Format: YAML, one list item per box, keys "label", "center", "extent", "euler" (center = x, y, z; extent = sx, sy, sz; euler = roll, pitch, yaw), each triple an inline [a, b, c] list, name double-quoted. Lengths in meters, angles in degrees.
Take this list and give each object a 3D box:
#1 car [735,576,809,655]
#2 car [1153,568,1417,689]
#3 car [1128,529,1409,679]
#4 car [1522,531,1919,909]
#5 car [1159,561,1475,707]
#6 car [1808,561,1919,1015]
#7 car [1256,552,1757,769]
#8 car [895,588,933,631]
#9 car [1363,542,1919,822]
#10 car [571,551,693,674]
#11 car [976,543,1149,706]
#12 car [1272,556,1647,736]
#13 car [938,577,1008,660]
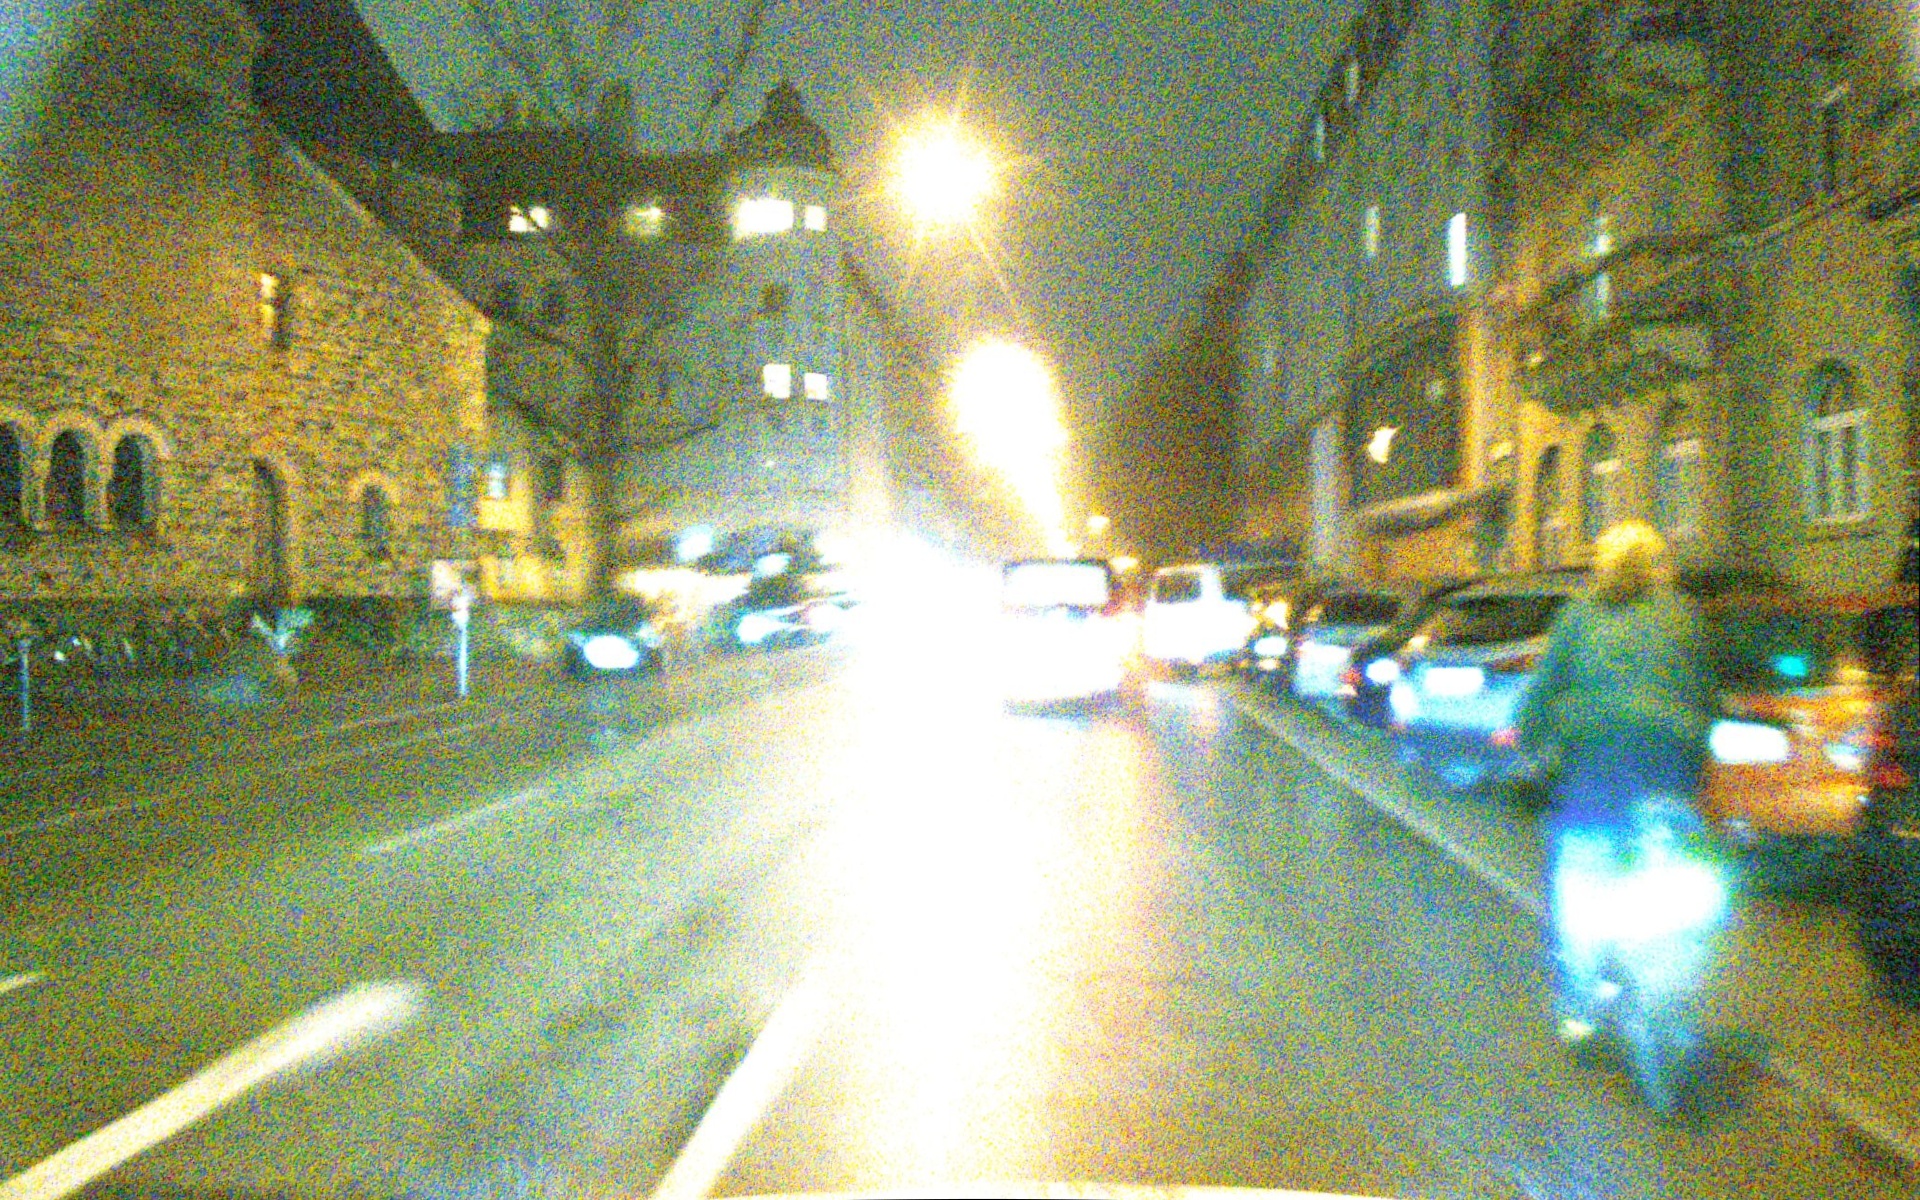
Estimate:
- label: "car"
  center: [-5.066, 0.392, 44.261]
  extent: [1.693, 2.006, 3.718]
  euler: [0, 0, -11]
- label: "car"
  center: [5.243, 0.407, 26.501]
  extent: [4.137, 1.674, 1.749]
  euler: [-3, 1, -35]
- label: "car"
  center: [5.631, 0.013, 29.935]
  extent: [4.952, 2.433, 2.114]
  euler: [-3, 1, -35]
- label: "car"
  center: [5.084, 0.469, 9.290]
  extent: [4.143, 1.674, 1.639]
  euler: [-3, 1, -38]
- label: "car"
  center: [4.799, 0.398, 22.036]
  extent: [4.137, 1.674, 1.749]
  euler: [-3, 1, -35]
- label: "car"
  center: [5.129, 0.547, 6.293]
  extent: [4.138, 1.500, 1.641]
  euler: [-3, 1, -35]
- label: "car"
  center: [4.997, 0.485, 15.220]
  extent: [4.106, 1.674, 1.762]
  euler: [-2, 1, -17]
- label: "car"
  center: [-2.198, 0.424, 79.908]
  extent: [1.689, 2.006, 4.221]
  euler: [0, 0, 0]
- label: "car"
  center: [5.198, 0.487, 11.948]
  extent: [4.106, 1.674, 1.762]
  euler: [-2, 1, -17]
- label: "car"
  center: [-5.895, 0.192, 29.424]
  extent: [1.957, 2.006, 4.287]
  euler: [0, 0, -14]
- label: "car"
  center: [1.420, 0.301, 22.831]
  extent: [2.122, 2.006, 4.304]
  euler: [-1, 0, 4]
- label: "car"
  center: [5.549, 0.427, 18.207]
  extent: [4.137, 1.674, 1.749]
  euler: [-3, 1, -35]
- label: "car"
  center: [0.321, 0.436, 42.082]
  extent: [1.689, 2.006, 4.221]
  euler: [0, 0, 0]
